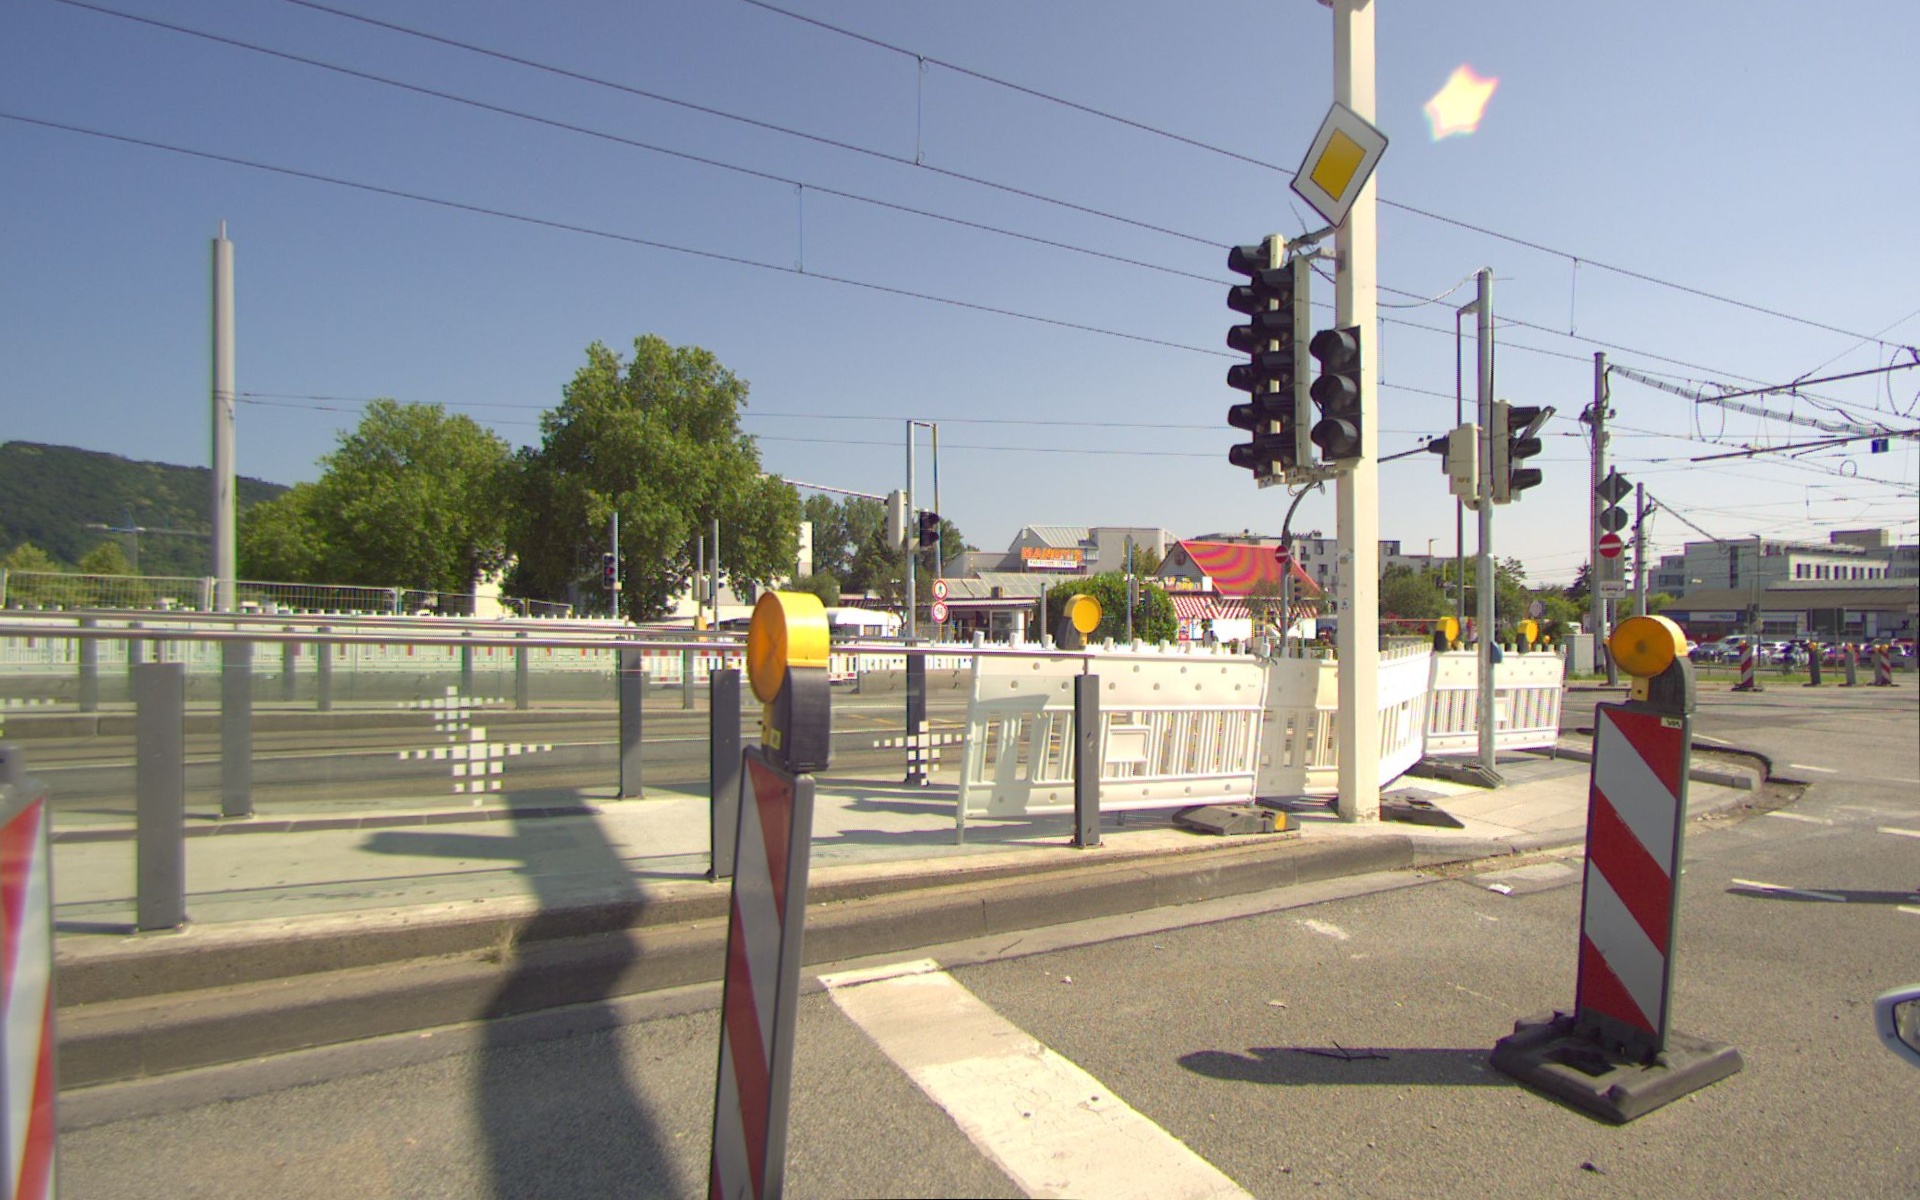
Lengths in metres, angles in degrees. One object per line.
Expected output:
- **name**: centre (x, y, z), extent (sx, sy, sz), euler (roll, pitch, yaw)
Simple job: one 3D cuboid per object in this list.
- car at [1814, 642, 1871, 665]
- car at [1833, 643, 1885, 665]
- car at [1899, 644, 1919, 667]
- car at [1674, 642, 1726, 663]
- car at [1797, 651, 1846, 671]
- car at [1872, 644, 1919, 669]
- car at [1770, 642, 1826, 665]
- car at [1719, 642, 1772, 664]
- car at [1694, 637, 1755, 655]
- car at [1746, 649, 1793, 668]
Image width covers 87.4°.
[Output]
- **car**: centre (60.855, 3.690, 69.269), extent (3.953, 1.558, 1.769), euler (2, -3, -30)
- **car**: centre (67.159, 4.030, 75.046), extent (3.953, 1.558, 1.769), euler (2, -2, -30)
- **car**: centre (68.959, 3.977, 71.667), extent (3.953, 1.558, 1.769), euler (2, 0, -30)
- **car**: centre (56.463, 3.970, 76.652), extent (3.953, 1.558, 1.769), euler (2, -3, -30)
- **car**: centre (69.559, 4.874, 81.117), extent (3.953, 1.558, 1.769), euler (2, -3, -30)
- **car**: centre (62.011, 3.710, 66.168), extent (3.953, 1.558, 1.769), euler (2, -3, -30)
- **car**: centre (59.811, 3.811, 71.692), extent (3.953, 1.558, 1.769), euler (2, -3, -30)
- **car**: centre (58.031, 3.886, 74.207), extent (3.953, 1.558, 1.769), euler (2, -3, -30)
- **car**: centre (68.235, 4.120, 89.709), extent (3.920, 1.558, 1.784), euler (-1, -3, 18)
- **car**: centre (67.471, 4.879, 83.730), extent (3.953, 1.558, 1.769), euler (2, -3, -30)
